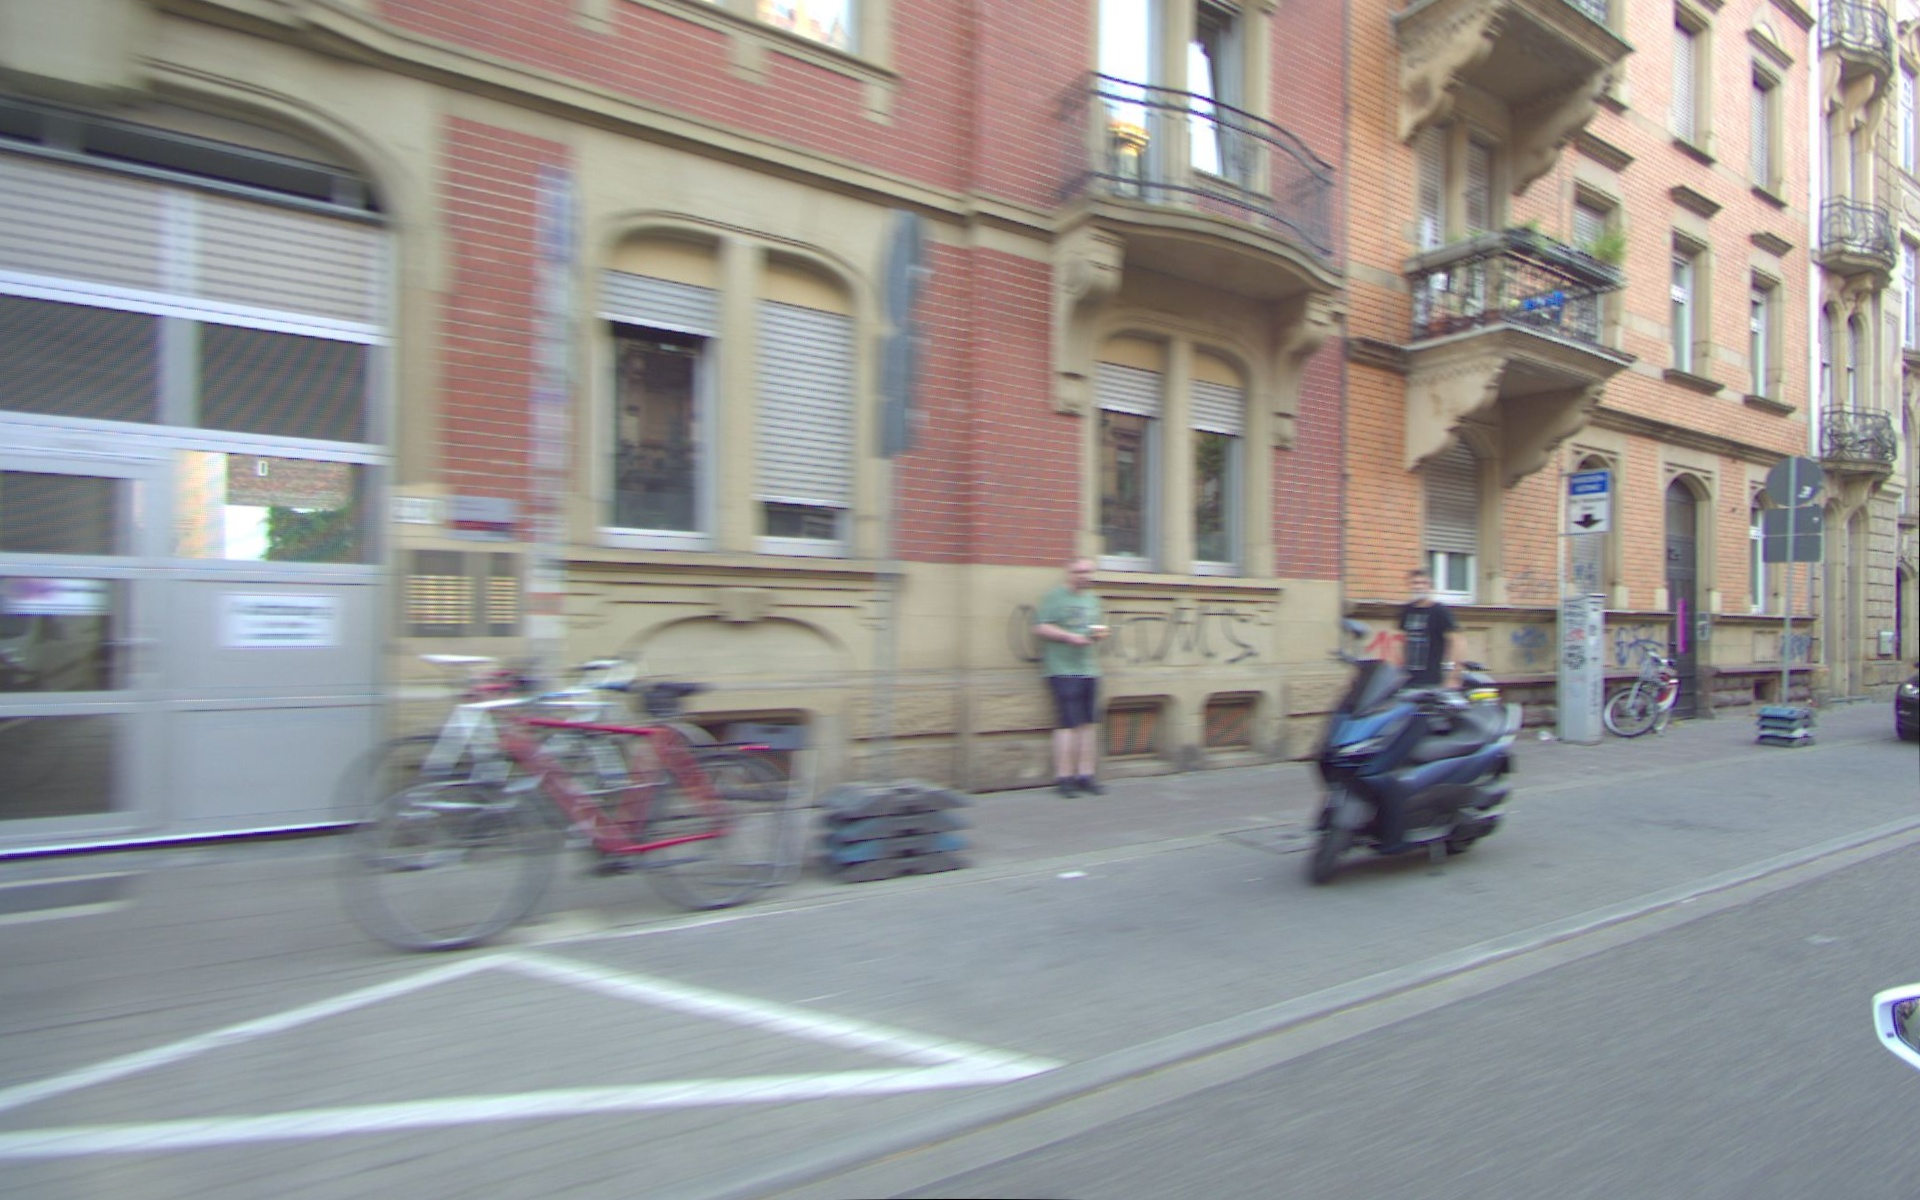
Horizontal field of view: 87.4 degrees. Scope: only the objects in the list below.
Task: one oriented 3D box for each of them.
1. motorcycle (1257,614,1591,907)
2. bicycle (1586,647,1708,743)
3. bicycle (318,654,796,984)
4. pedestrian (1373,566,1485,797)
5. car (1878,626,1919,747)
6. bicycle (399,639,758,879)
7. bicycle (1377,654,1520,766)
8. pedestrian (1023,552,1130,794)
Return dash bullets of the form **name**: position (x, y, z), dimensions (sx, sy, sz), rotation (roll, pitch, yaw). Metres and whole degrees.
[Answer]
- **motorcycle**: position (2.676, 0.823, 5.720), dimensions (1.991, 1.423, 0.681), rotation (2, 0, -30)
- **bicycle**: position (8.889, 1.182, 12.961), dimensions (2.008, 1.116, 0.743), rotation (2, 0, -39)
- **bicycle**: position (-1.644, 0.835, 4.302), dimensions (1.817, 1.175, 0.409), rotation (2, 0, -32)
- **pedestrian**: position (4.012, 0.651, 8.570), dimensions (0.672, 1.834, 0.958), rotation (2, 0, 34)
- **car**: position (13.868, 1.120, 13.189), dimensions (4.130, 1.490, 1.825), rotation (2, -1, -35)
- **bicycle**: position (-2.096, 0.827, 5.658), dimensions (1.817, 1.175, 0.409), rotation (2, 0, -32)
- **bicycle**: position (5.010, 1.094, 10.269), dimensions (1.721, 1.043, 0.445), rotation (2, 0, -32)
- **pedestrian**: position (0.910, 0.557, 7.894), dimensions (0.634, 1.813, 0.461), rotation (2, 0, -29)
